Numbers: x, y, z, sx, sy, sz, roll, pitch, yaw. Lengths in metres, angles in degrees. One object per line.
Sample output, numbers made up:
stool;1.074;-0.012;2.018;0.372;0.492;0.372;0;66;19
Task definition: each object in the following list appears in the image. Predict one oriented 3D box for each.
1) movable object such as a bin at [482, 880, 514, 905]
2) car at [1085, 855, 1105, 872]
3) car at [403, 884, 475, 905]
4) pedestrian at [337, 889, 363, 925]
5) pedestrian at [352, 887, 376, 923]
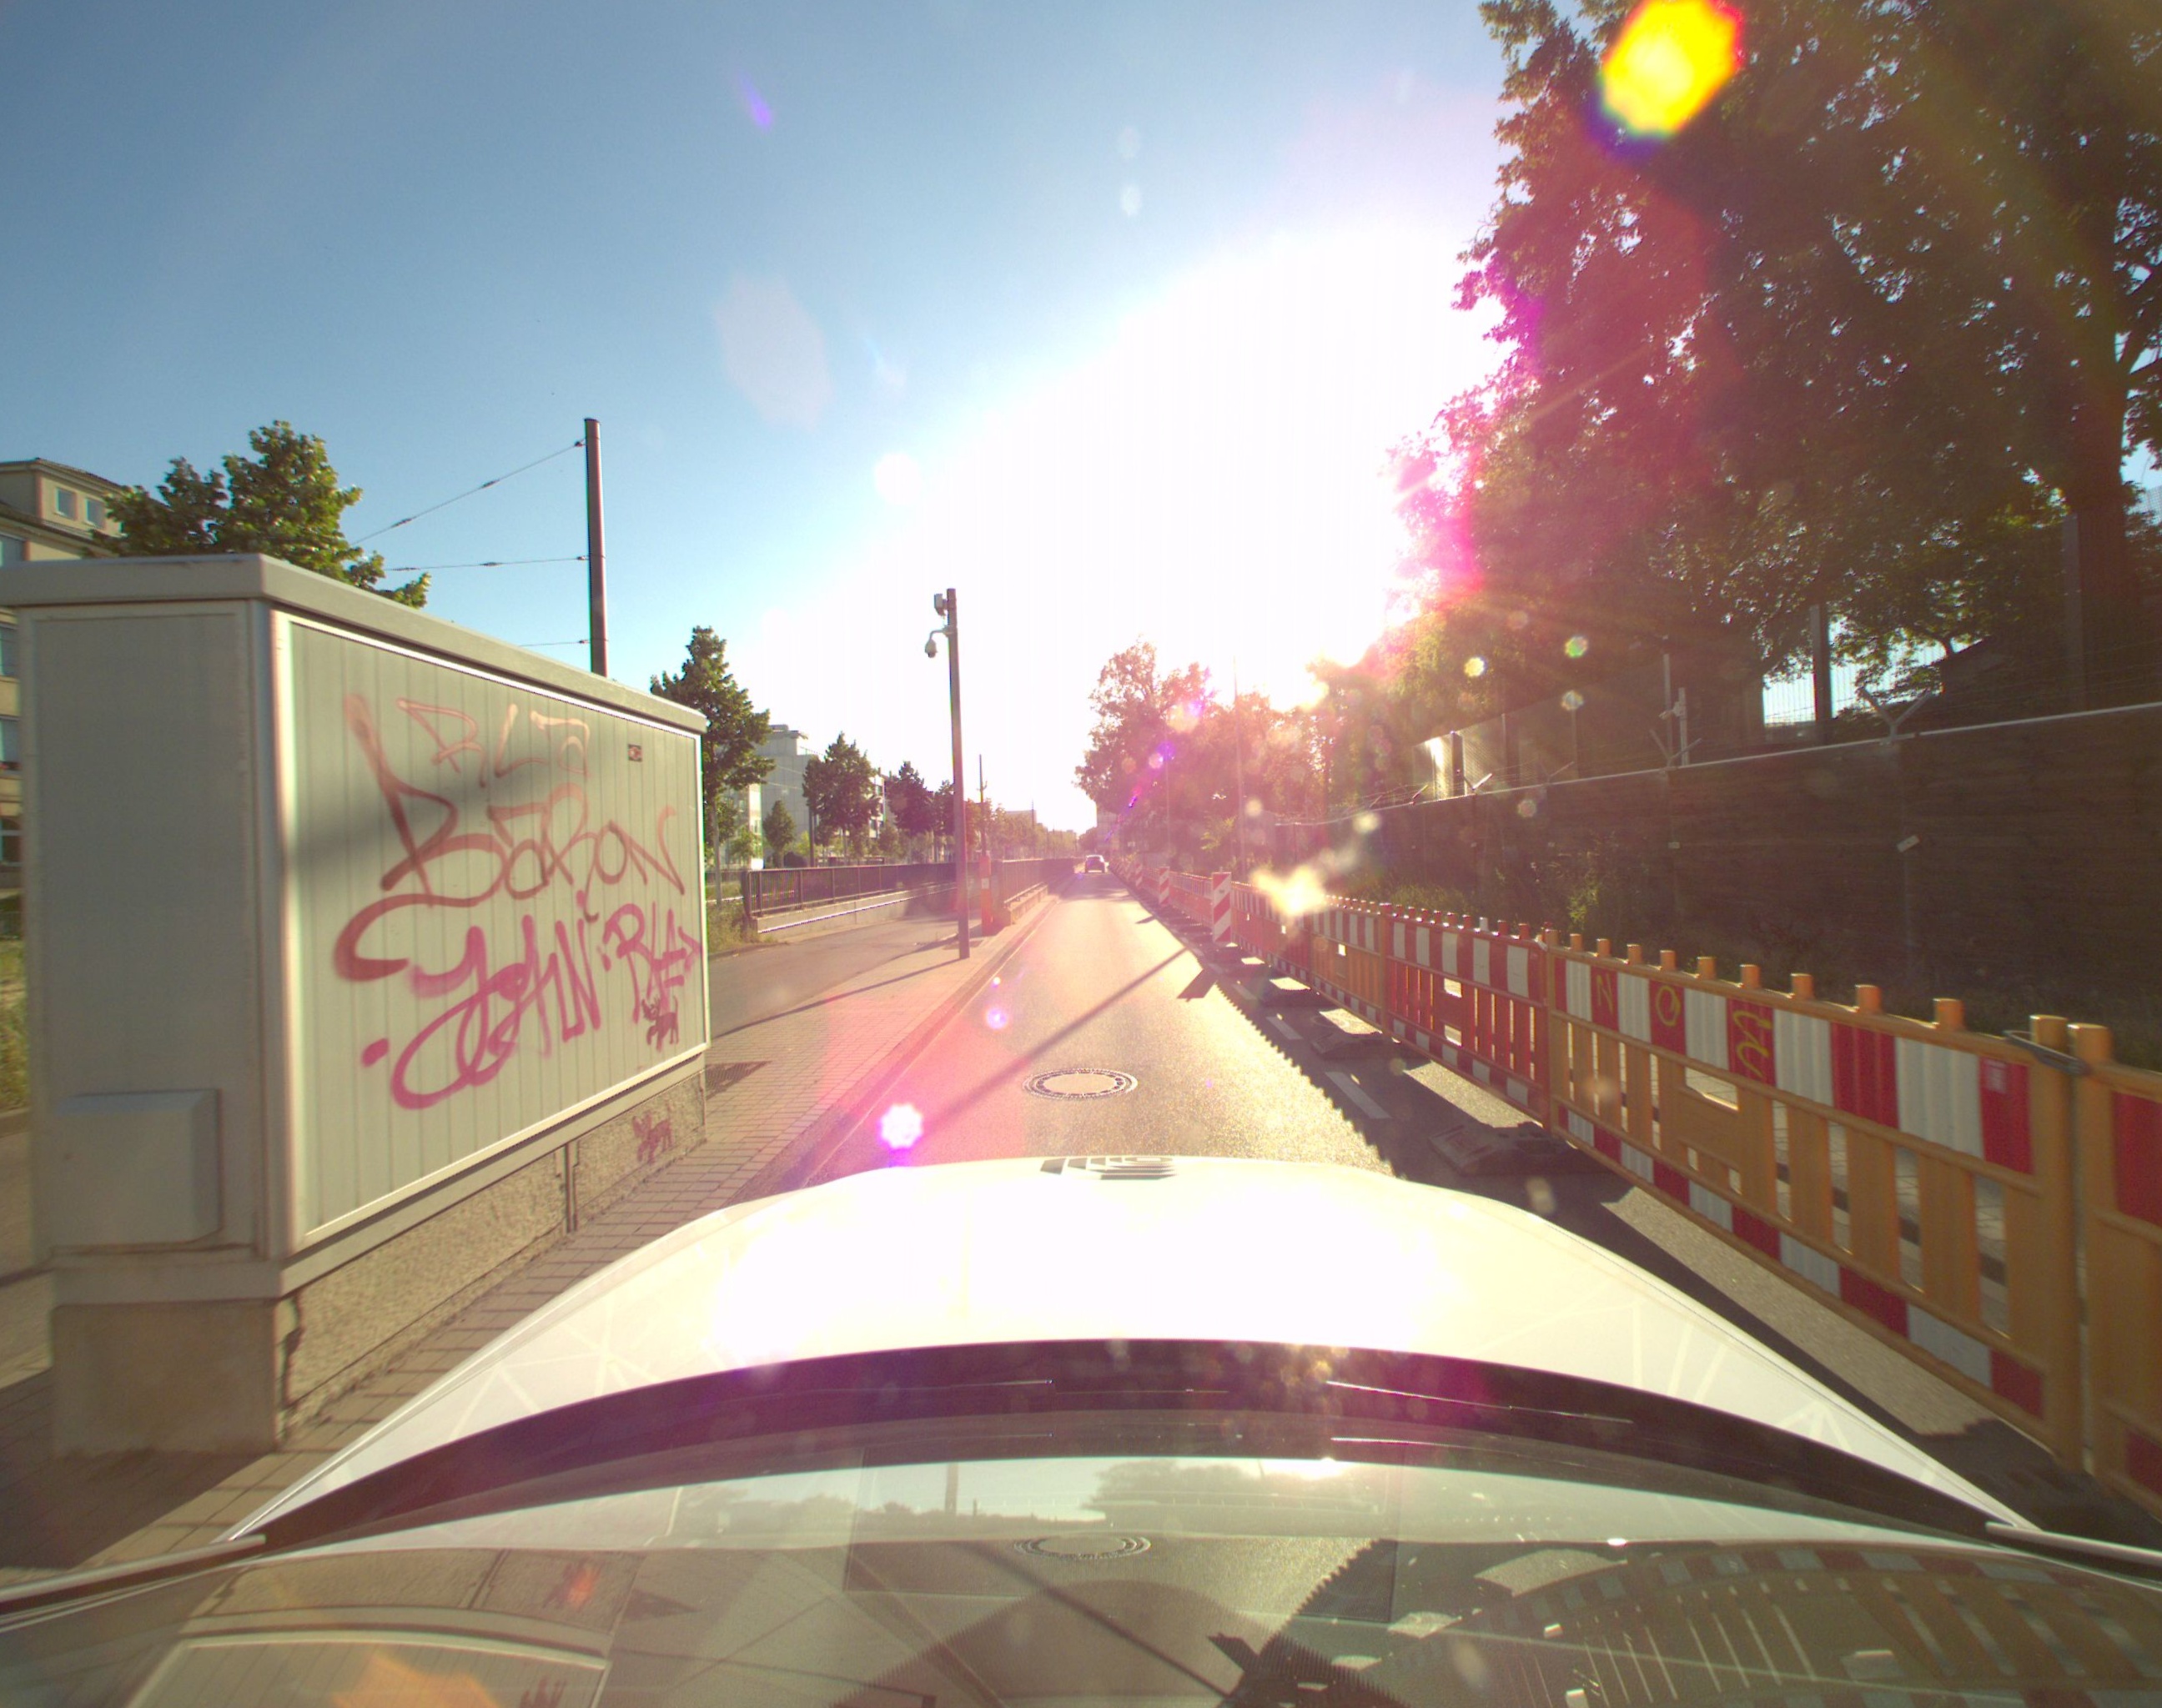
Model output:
movable object such as a bin;-36.848;2.426;51.492;1.201;1.429;1.080;-2;0;1
car;1.419;0.920;81.365;1.998;1.659;4.001;0;-1;2
car;-47.149;2.981;59.840;3.971;1.469;1.683;-1;-1;2
pedestrian;-36.235;2.619;40.391;0.653;1.720;0.653;-2;0;0
pedestrian;-35.534;2.511;40.352;0.553;1.720;0.653;-2;0;1
